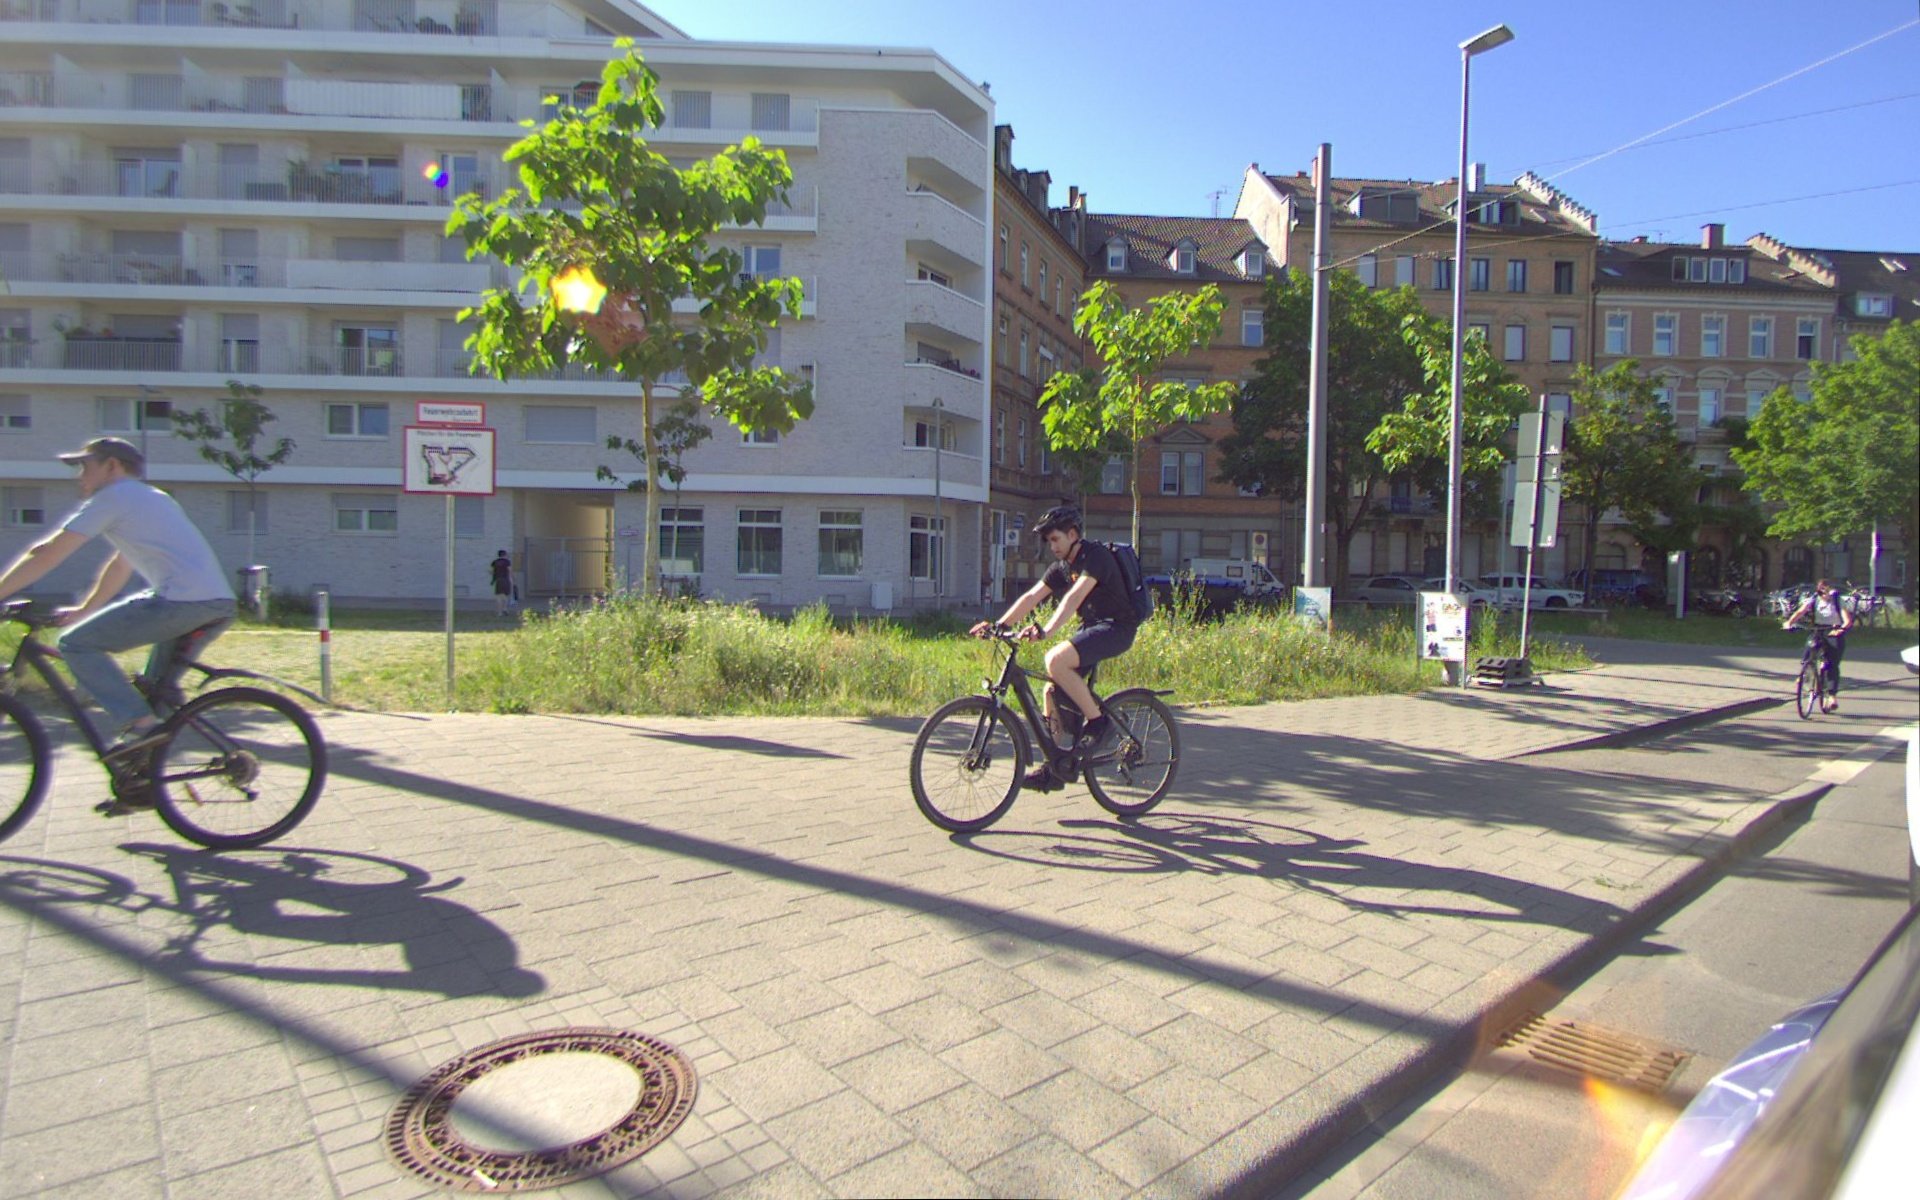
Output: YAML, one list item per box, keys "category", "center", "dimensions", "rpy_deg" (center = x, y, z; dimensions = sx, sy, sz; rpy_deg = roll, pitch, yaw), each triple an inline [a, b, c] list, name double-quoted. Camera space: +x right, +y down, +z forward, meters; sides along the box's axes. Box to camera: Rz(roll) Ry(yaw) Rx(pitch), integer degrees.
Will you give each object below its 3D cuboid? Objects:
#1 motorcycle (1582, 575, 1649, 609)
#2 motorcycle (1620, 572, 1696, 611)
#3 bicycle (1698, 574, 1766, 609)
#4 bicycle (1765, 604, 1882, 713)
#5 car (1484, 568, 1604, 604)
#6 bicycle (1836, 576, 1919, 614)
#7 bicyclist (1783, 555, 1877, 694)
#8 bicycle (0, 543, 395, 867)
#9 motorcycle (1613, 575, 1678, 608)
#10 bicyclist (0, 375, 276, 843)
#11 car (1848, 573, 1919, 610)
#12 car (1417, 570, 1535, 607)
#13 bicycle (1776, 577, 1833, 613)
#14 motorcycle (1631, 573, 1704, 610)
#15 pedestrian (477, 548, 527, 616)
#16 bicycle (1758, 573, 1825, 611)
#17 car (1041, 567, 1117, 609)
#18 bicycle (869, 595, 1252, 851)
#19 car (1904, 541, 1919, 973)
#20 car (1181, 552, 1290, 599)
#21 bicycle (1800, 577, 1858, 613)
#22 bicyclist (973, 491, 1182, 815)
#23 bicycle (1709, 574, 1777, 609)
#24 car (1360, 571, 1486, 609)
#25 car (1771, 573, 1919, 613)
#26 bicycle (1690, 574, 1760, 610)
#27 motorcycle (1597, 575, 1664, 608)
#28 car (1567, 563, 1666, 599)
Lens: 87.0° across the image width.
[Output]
- category: "motorcycle"
  center: [26.026, -0.329, 40.230]
  dimensions: [0.649, 1.293, 2.324]
  rpy_deg: [0, 0, -18]
- category: "motorcycle"
  center: [25.338, -0.307, 36.784]
  dimensions: [0.650, 1.347, 2.207]
  rpy_deg: [0, 0, -28]
- category: "bicycle"
  center: [29.080, -0.321, 38.157]
  dimensions: [0.649, 1.284, 2.208]
  rpy_deg: [0, 0, -9]
- category: "bicycle"
  center: [10.686, 0.678, 12.495]
  dimensions: [2.115, 1.212, 0.669]
  rpy_deg: [0, 1, -38]
- category: "car"
  center: [22.328, -0.580, 38.778]
  dimensions: [1.513, 1.267, 3.700]
  rpy_deg: [-1, 3, -39]
- category: "bicycle"
  center: [31.629, -0.167, 34.768]
  dimensions: [2.180, 1.284, 0.657]
  rpy_deg: [0, 0, 25]
- category: "bicyclist"
  center: [10.786, 0.283, 12.550]
  dimensions: [0.953, 1.649, 0.669]
  rpy_deg: [0, 1, -37]
- category: "bicycle"
  center: [-3.808, 0.412, 4.531]
  dimensions: [2.109, 1.317, 0.760]
  rpy_deg: [0, 1, -18]
- category: "motorcycle"
  center: [27.487, -0.336, 40.616]
  dimensions: [0.649, 1.284, 2.209]
  rpy_deg: [0, 0, -18]
- category: "bicyclist"
  center: [-3.670, 0.020, 4.591]
  dimensions: [0.734, 1.889, 0.812]
  rpy_deg: [-1, 2, -21]
- category: "car"
  center: [37.821, -0.330, 39.967]
  dimensions: [1.649, 1.423, 3.832]
  rpy_deg: [-1, 3, -32]
- category: "car"
  center: [19.671, -0.469, 38.722]
  dimensions: [1.648, 1.267, 3.709]
  rpy_deg: [0, 3, -28]
- category: "bicycle"
  center: [30.940, -0.186, 37.115]
  dimensions: [0.653, 1.284, 2.196]
  rpy_deg: [0, 0, 12]
- category: "motorcycle"
  center: [26.153, -0.322, 37.473]
  dimensions: [0.649, 1.339, 2.208]
  rpy_deg: [0, 0, -23]
- category: "pedestrian"
  center: [-12.115, -0.487, 26.822]
  dimensions: [0.829, 1.717, 0.985]
  rpy_deg: [2, 2, 2]
- category: "bicycle"
  center: [29.273, -0.293, 35.678]
  dimensions: [0.651, 1.284, 2.202]
  rpy_deg: [0, 0, 4]
- category: "car"
  center: [4.566, -0.507, 38.301]
  dimensions: [1.811, 1.444, 4.359]
  rpy_deg: [1, 2, 21]
- category: "bicycle"
  center: [0.599, 0.585, 5.623]
  dimensions: [2.110, 1.212, 0.639]
  rpy_deg: [0, 1, -28]
- category: "car"
  center: [5.870, 0.605, 4.720]
  dimensions: [4.323, 1.667, 1.840]
  rpy_deg: [0, 0, -43]
- category: "car"
  center: [12.659, -1.156, 46.787]
  dimensions: [4.416, 2.062, 2.054]
  rpy_deg: [1, 2, 0]
- category: "bicycle"
  center: [32.034, -0.194, 37.339]
  dimensions: [0.653, 1.284, 2.196]
  rpy_deg: [0, 0, 12]
- category: "bicyclist"
  center: [0.648, 0.261, 5.649]
  dimensions: [0.952, 1.649, 0.632]
  rpy_deg: [0, 1, -29]
- category: "bicycle"
  center: [29.723, -0.327, 38.468]
  dimensions: [0.649, 1.284, 2.208]
  rpy_deg: [0, 0, -9]
- category: "car"
  center: [17.348, -0.423, 38.112]
  dimensions: [1.648, 1.267, 4.170]
  rpy_deg: [0, 3, -28]
- category: "car"
  center: [34.685, -0.321, 39.598]
  dimensions: [1.651, 1.423, 4.324]
  rpy_deg: [-1, 3, -38]
- category: "bicycle"
  center: [28.369, -0.311, 37.570]
  dimensions: [0.649, 1.284, 2.208]
  rpy_deg: [0, 0, -11]
- category: "motorcycle"
  center: [26.696, -0.337, 40.362]
  dimensions: [0.649, 1.300, 2.324]
  rpy_deg: [0, 0, -18]
- category: "car"
  center: [30.874, -0.921, 47.655]
  dimensions: [3.631, 1.607, 1.552]
  rpy_deg: [1, 2, 0]
